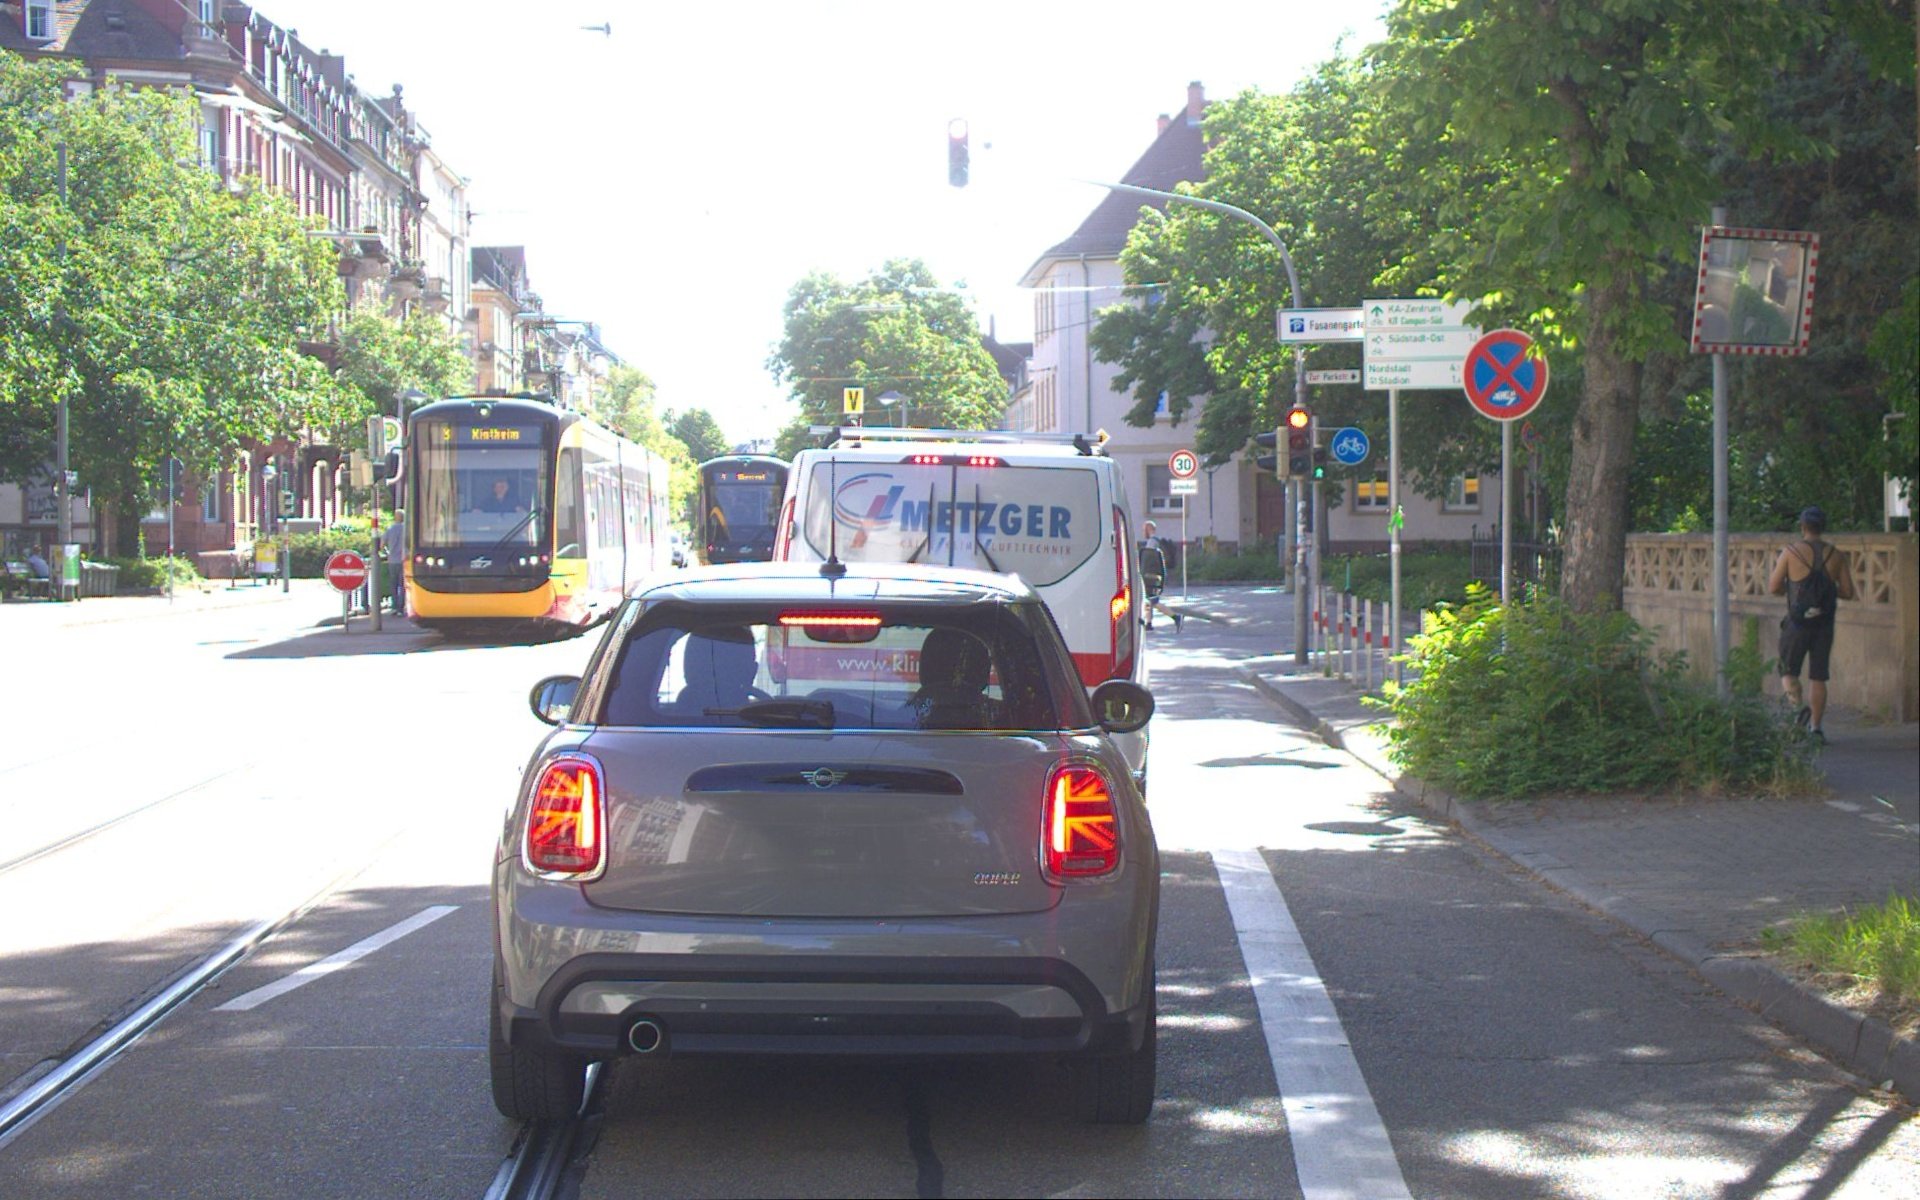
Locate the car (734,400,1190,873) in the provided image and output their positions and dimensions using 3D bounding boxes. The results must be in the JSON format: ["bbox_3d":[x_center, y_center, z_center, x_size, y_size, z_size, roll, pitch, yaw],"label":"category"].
[{"bbox_3d":[-0.018,0.148,18.656,2.118,2.200,4.945,1,1,-1],"label":"car"}]

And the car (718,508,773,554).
[{"bbox_3d":[-7.546,-2.420,120.723,1.863,1.558,4.001,1,1,-4],"label":"car"}]

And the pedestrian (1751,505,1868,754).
[{"bbox_3d":[5.818,0.194,23.561,0.592,1.665,0.647,-2,0,-1],"label":"pedestrian"}]

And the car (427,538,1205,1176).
[{"bbox_3d":[-0.361,0.588,10.109,1.815,1.483,4.000,1,1,-1],"label":"car"}]

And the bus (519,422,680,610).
[{"bbox_3d":[-7.808,-1.770,75.898,2.849,3.764,12.199,1,1,-3],"label":"bus"}]

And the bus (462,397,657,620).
[{"bbox_3d":[-7.322,-1.626,64.257,2.859,3.764,11.185,1,1,-3],"label":"bus"}]

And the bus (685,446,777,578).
[{"bbox_3d":[-6.380,-2.374,95.073,2.385,3.484,7.385,1,1,-5],"label":"bus"}]

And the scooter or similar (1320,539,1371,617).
[{"bbox_3d":[6.589,-0.377,58.824,0.676,1.305,1.329,1,0,-1],"label":"scooter or similar"}]

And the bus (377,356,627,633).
[{"bbox_3d":[-6.835,-1.505,52.890,2.859,3.764,11.499,1,1,-3],"label":"bus"}]

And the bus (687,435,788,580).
[{"bbox_3d":[-5.735,-2.296,87.643,2.385,3.484,7.385,1,1,-5],"label":"bus"}]

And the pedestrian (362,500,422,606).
[{"bbox_3d":[-9.778,-0.808,59.239,0.881,1.795,0.903,1,0,-2],"label":"pedestrian"}]
